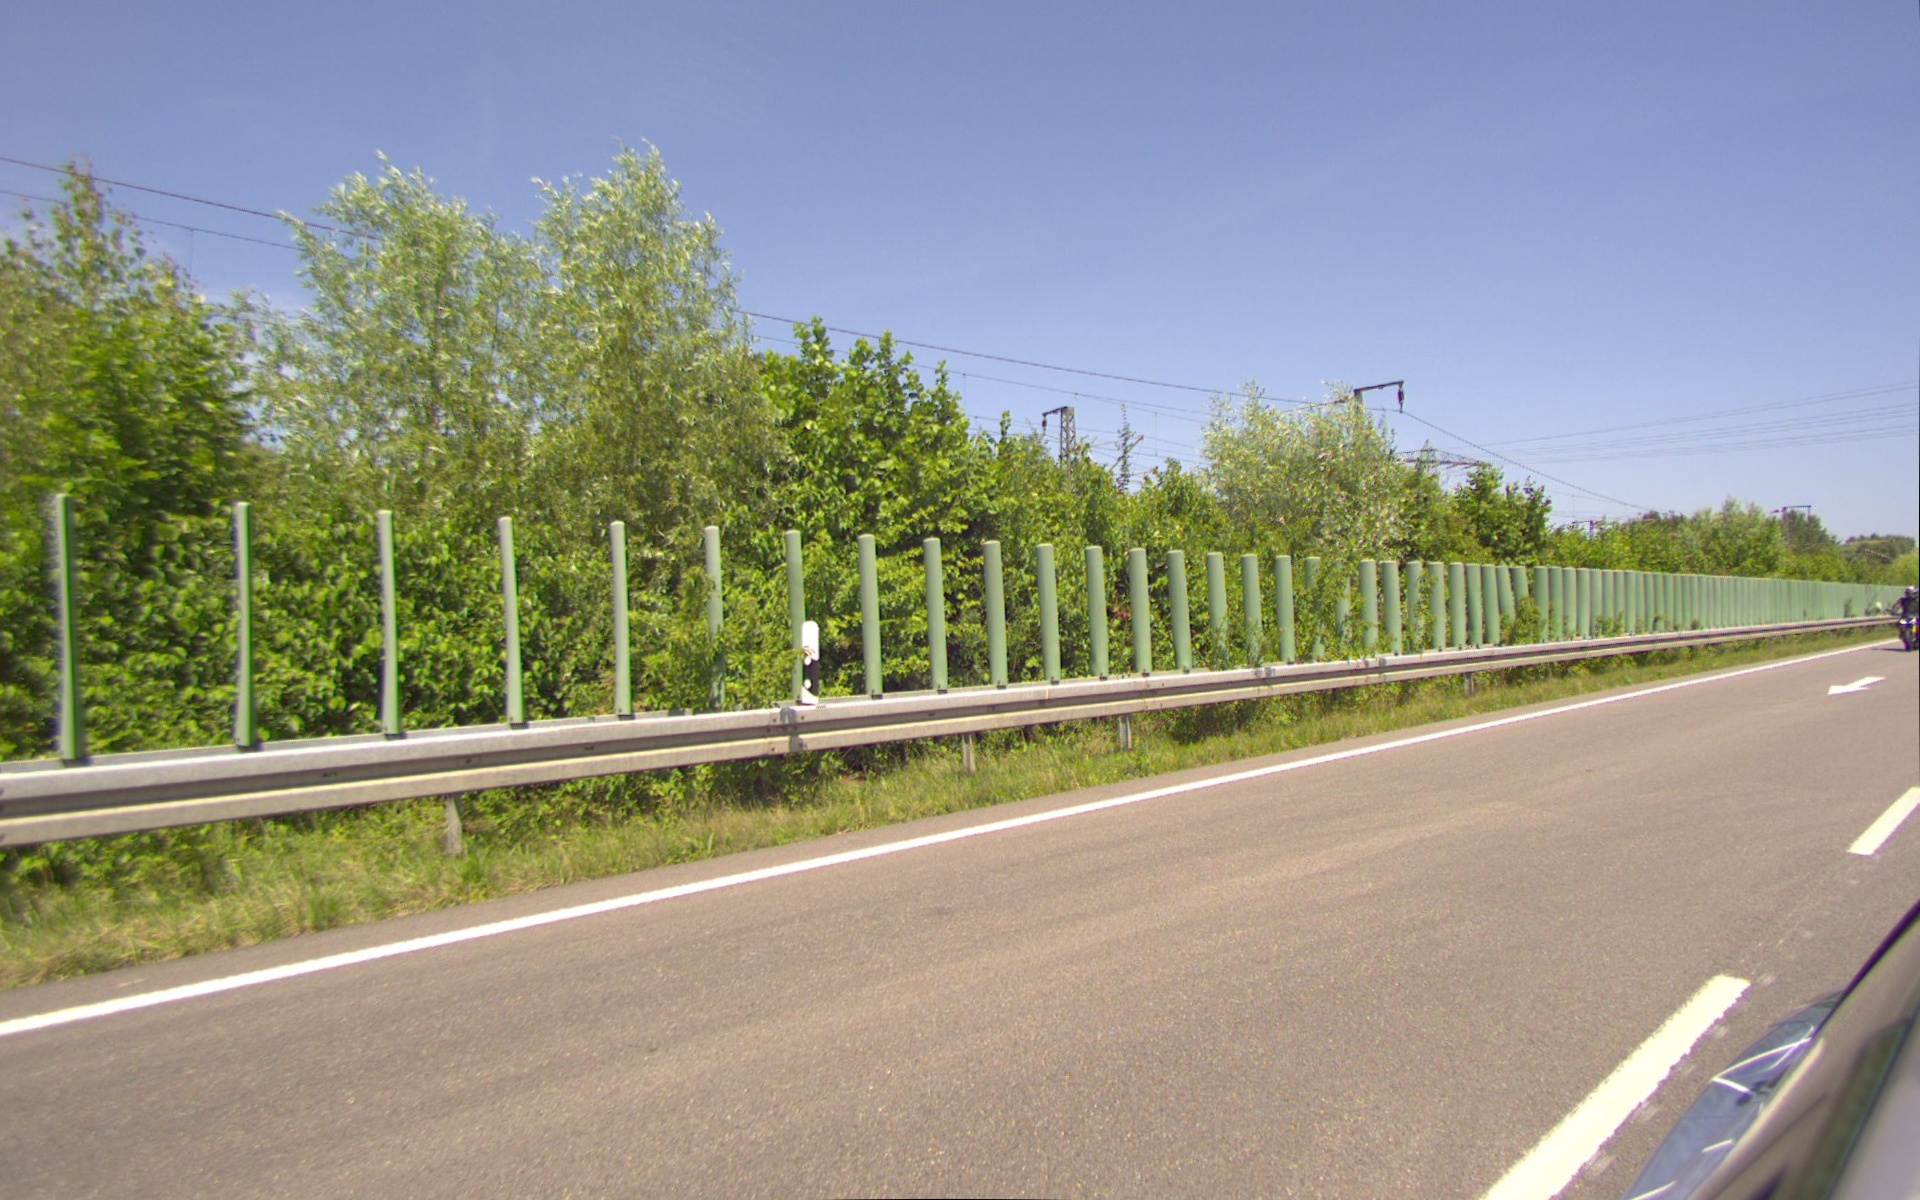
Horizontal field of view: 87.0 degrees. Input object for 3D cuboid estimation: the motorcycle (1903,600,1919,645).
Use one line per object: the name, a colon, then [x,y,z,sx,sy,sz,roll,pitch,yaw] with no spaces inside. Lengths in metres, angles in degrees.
motorcycle: [26.001,0.580,27.186,1.868,1.172,0.791,0,-1,-42]

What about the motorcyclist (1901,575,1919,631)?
motorcyclist: [26.074,0.073,27.310,0.984,1.495,0.891,0,0,-40]
